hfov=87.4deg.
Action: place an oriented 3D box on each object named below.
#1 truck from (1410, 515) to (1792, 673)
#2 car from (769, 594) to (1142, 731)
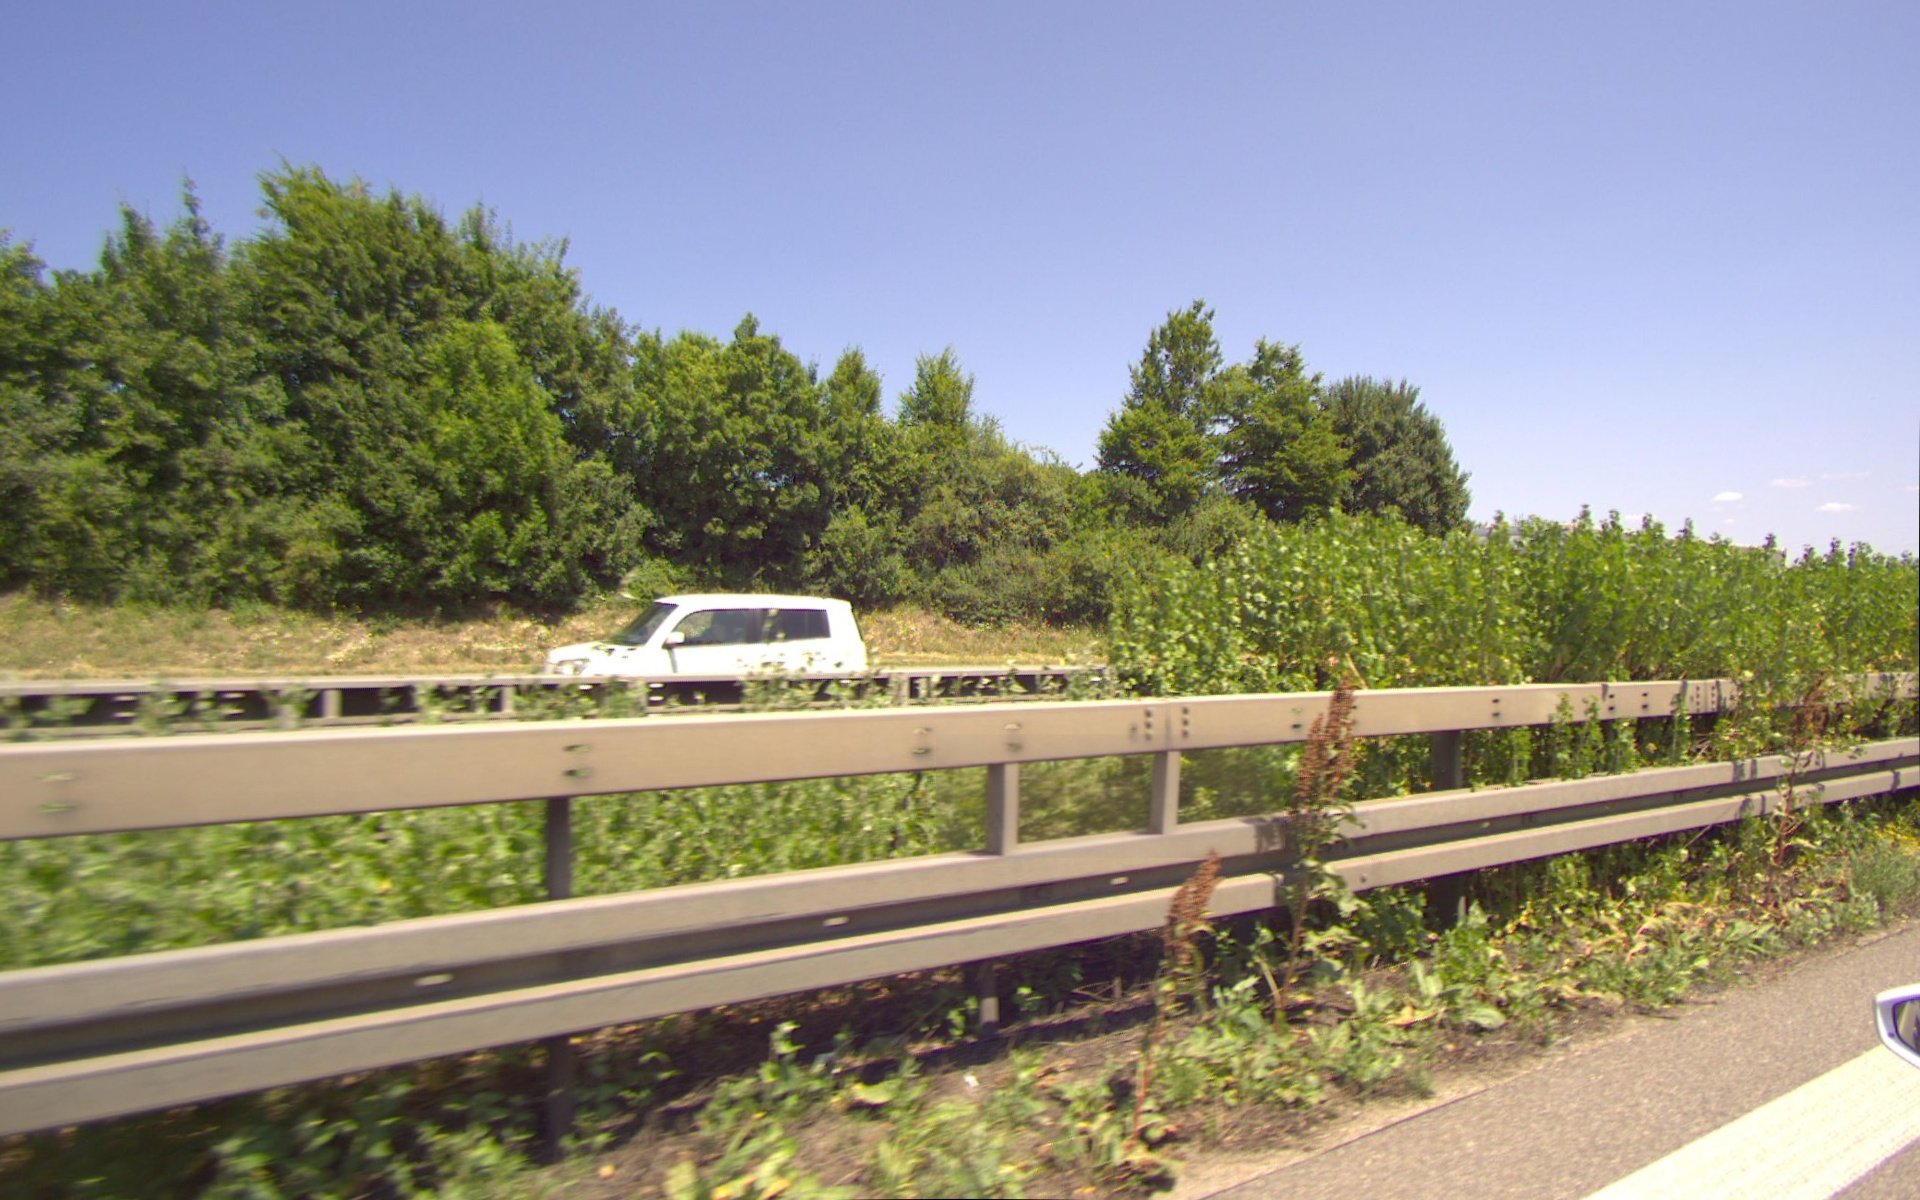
[{"bbox_3d":[20.589,-0.030,31.348,16.635,4.067,2.960,1,0,-31],"label":"truck"},{"bbox_3d":[0.057,0.766,13.213,4.813,1.534,1.492,2,0,-31],"label":"car"}]
